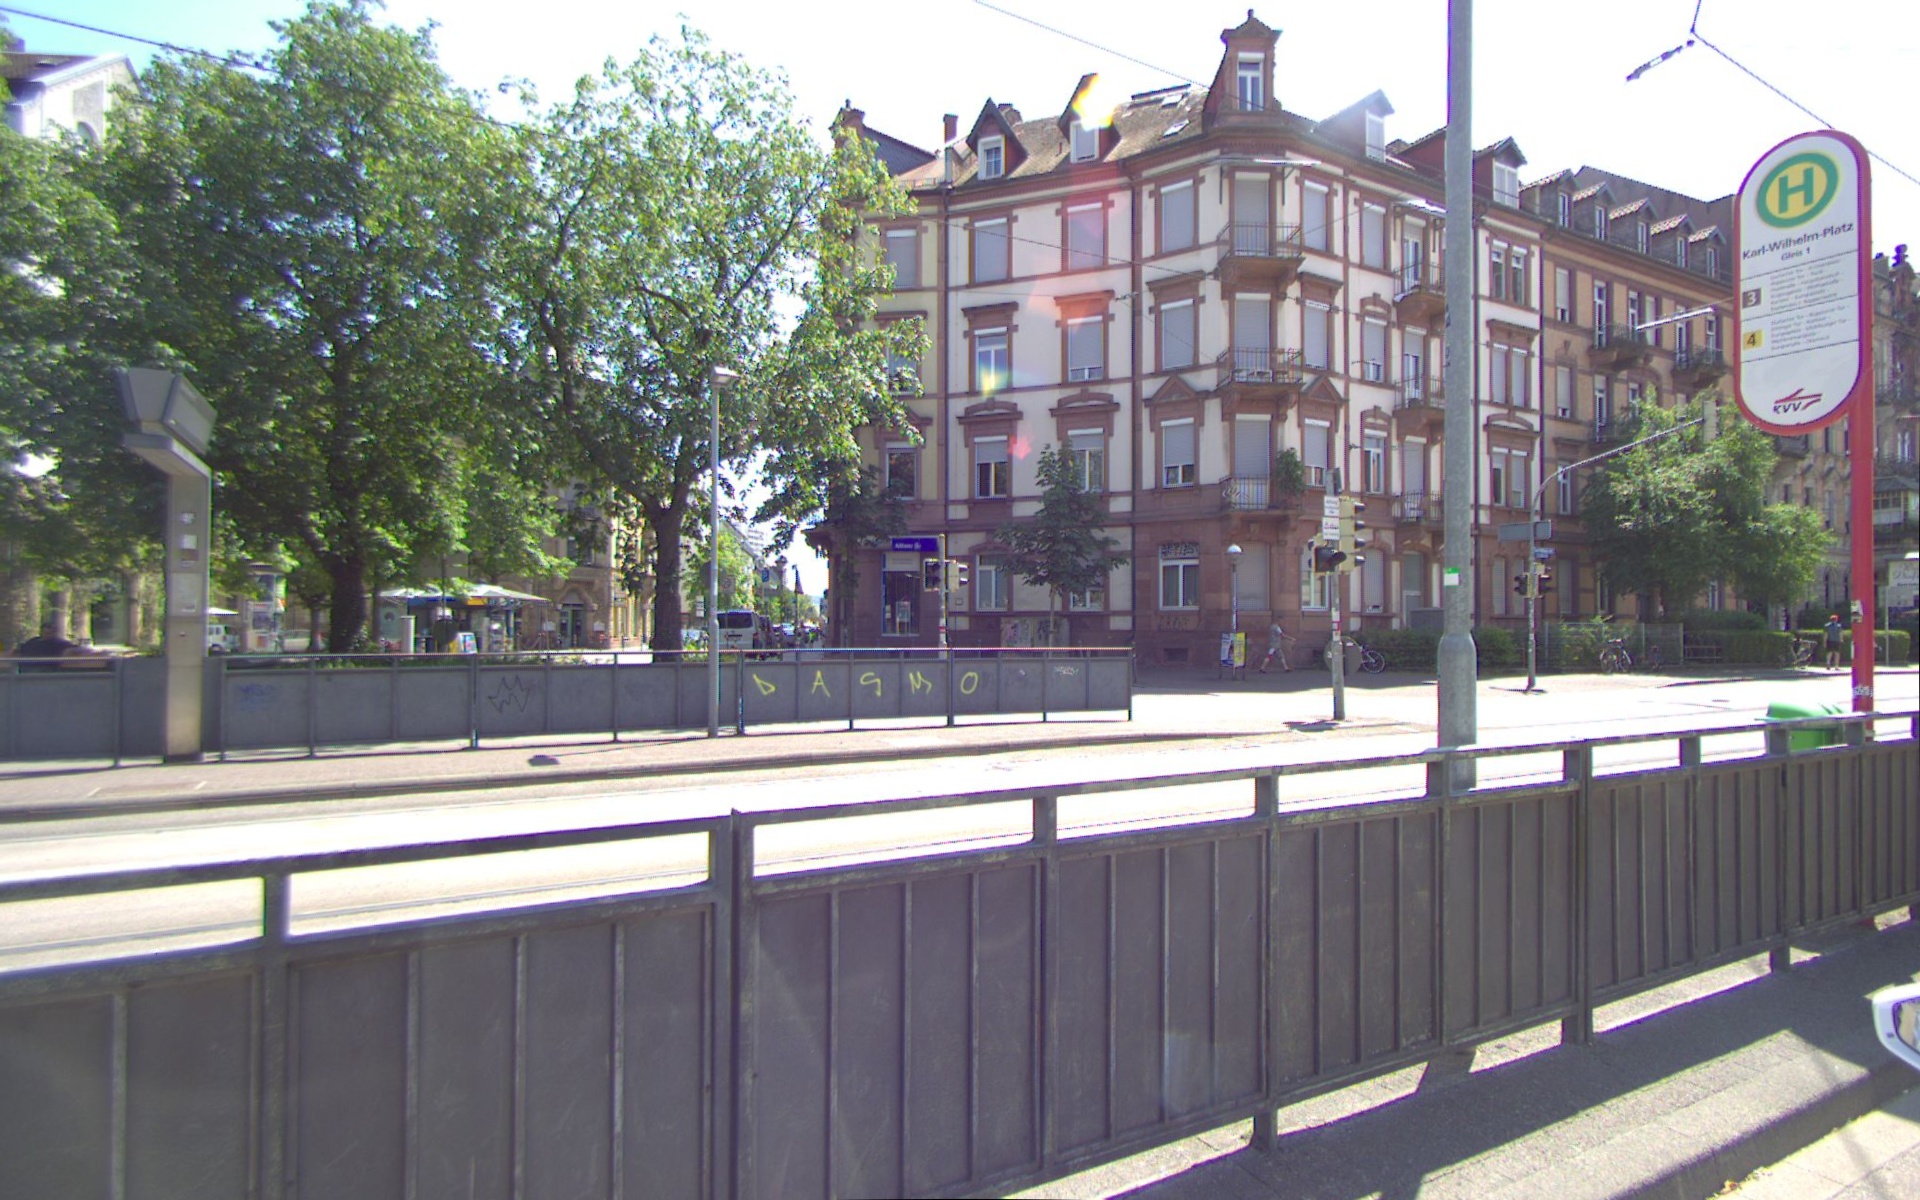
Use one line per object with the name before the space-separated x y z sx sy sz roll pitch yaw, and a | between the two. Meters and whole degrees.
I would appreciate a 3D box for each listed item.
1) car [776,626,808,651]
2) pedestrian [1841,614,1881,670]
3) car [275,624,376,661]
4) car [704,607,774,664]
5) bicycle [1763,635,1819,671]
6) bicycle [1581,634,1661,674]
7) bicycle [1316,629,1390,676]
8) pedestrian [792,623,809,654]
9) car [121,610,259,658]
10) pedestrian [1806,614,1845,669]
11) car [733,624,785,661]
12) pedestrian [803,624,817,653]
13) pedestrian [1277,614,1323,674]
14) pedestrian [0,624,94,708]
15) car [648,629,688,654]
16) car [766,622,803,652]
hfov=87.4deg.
car | -12.480 2.837 74.760 1.962 1.617 3.998 2 0 -4
pedestrian | 30.619 1.415 34.143 0.864 1.847 0.811 0 1 -33
car | -32.072 2.156 50.892 3.920 1.730 1.761 2 0 -14
car | -8.325 1.296 38.219 1.962 1.970 3.998 2 0 -4
bicycle | 28.532 1.799 34.483 2.750 1.151 0.930 2 0 -39
bicycle | 20.232 1.643 30.718 2.742 1.151 0.932 2 0 -31
bicycle | 11.669 1.555 29.864 1.923 1.312 0.564 2 0 11
pedestrian | -8.590 2.074 54.115 0.790 1.632 0.731 0 -1 -4
car | -31.186 1.365 40.817 3.932 1.814 1.994 2 0 -14
pedestrian | 30.000 1.409 34.815 0.864 1.847 0.811 0 1 -33
car | -9.622 2.007 48.291 1.893 1.541 3.998 2 0 -4
pedestrian | -8.347 2.147 55.961 0.742 1.632 0.688 0 -1 -4
pedestrian | 9.815 1.269 29.021 1.041 1.712 0.722 0 -1 -3
pedestrian | -14.657 1.044 16.107 0.925 1.261 0.860 2 0 -24
car | -20.656 2.911 71.165 1.846 1.617 3.998 2 0 -4
car | -10.370 2.172 59.455 1.684 1.617 3.998 2 0 -4
